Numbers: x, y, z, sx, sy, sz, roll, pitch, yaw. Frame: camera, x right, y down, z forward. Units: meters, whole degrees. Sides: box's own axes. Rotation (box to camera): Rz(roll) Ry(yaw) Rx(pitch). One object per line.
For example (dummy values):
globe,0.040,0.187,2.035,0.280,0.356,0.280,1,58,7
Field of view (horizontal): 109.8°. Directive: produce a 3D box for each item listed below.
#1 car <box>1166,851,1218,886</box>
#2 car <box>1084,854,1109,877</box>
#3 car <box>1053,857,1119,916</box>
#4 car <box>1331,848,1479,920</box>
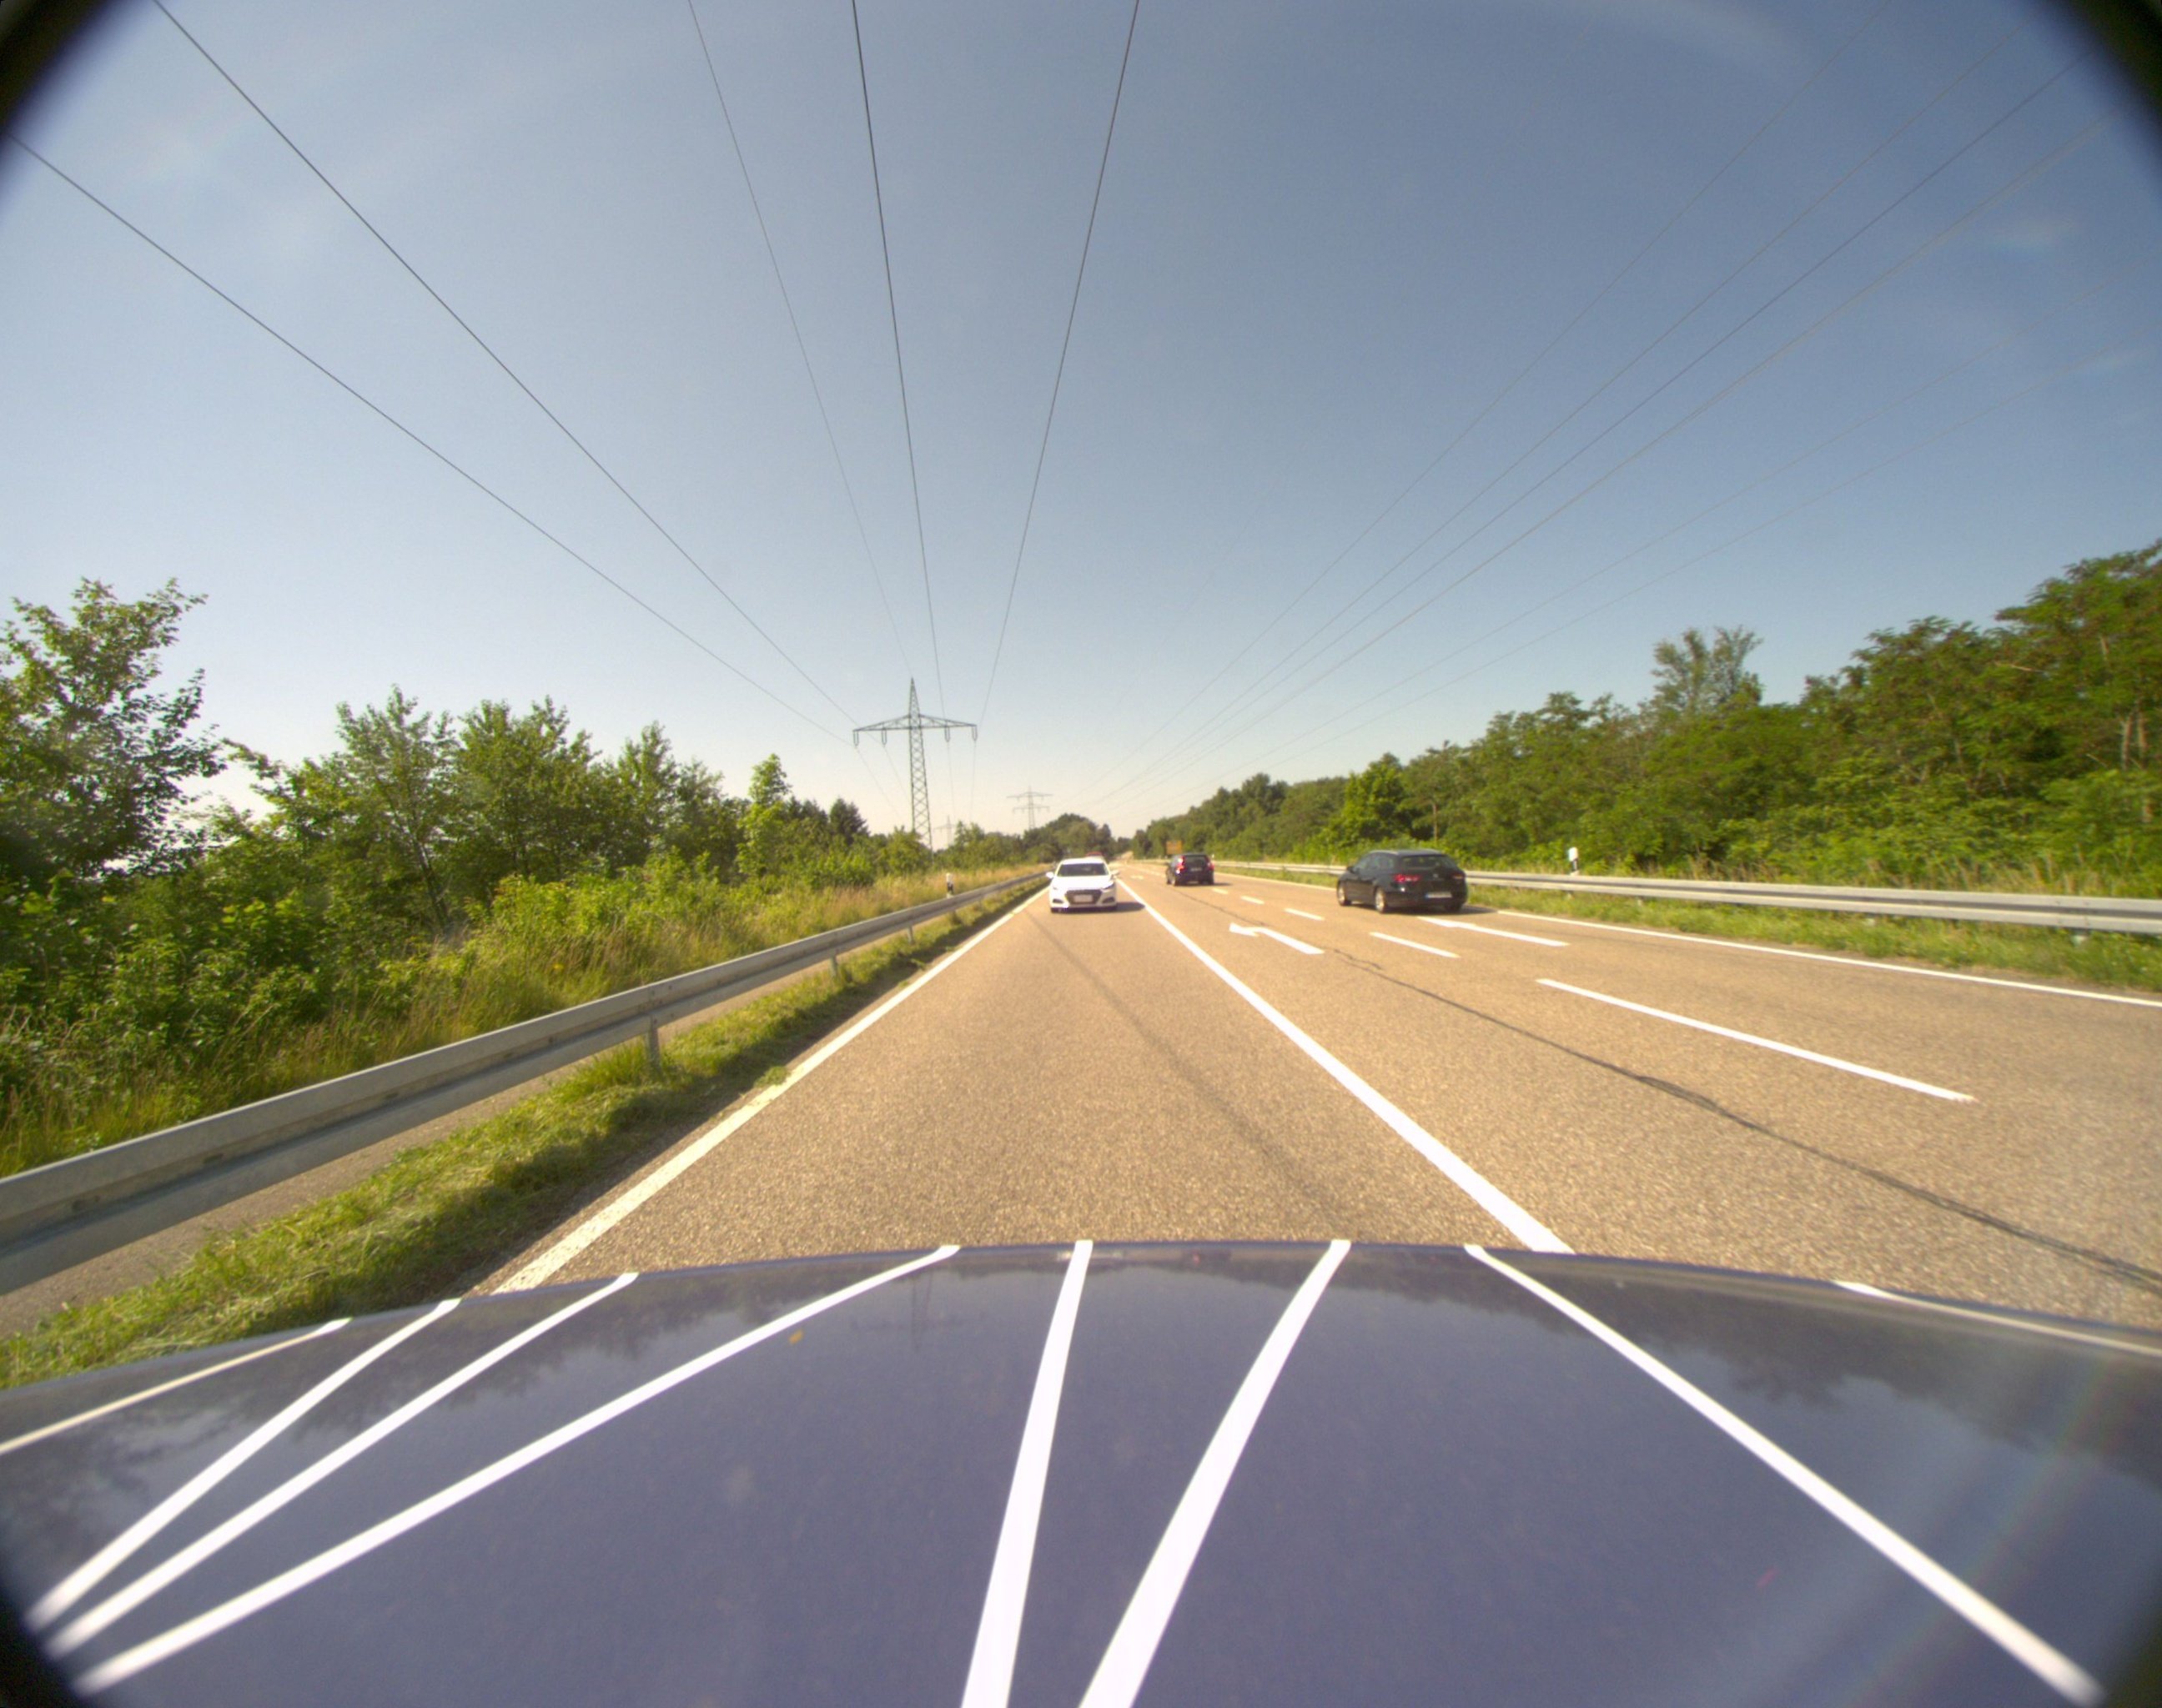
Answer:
car,5.177,0.641,35.937,1.732,1.482,4.422,-2,0,-1
car,0.996,0.769,51.717,1.549,1.460,3.661,-2,0,0
car,0.140,0.860,22.336,1.683,1.472,4.473,-2,0,0
car,7.387,0.615,17.801,1.664,1.433,4.214,-2,0,0
